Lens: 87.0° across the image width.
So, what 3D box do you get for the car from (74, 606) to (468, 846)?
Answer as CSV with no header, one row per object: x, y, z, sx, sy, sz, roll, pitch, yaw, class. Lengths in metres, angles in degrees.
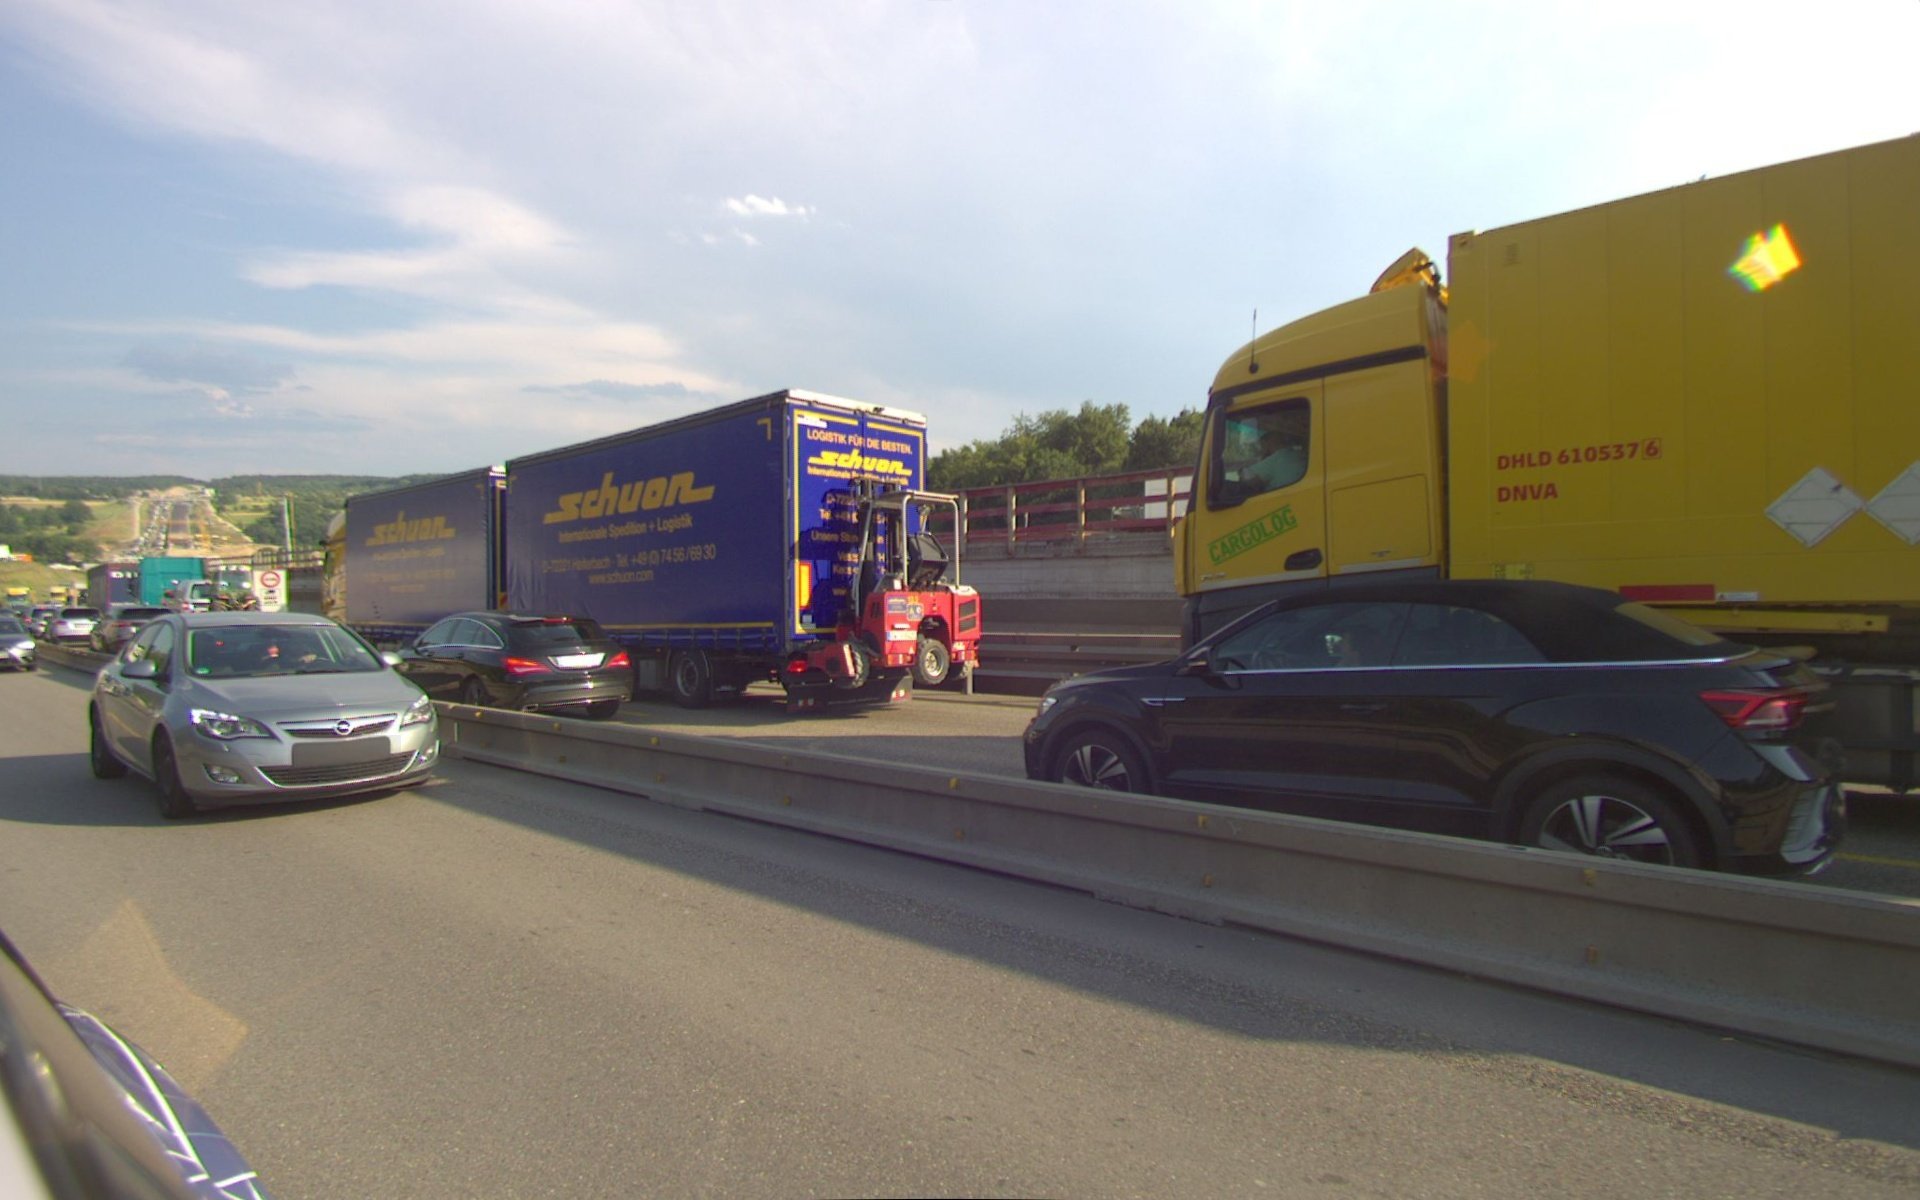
-5.849,0.807,8.392,4.117,1.498,1.786,-1,-1,42,car

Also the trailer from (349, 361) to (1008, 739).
-6.458,-0.570,17.797,16.749,4.166,2.685,0,0,42,trailer

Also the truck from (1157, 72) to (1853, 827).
4.192,-0.845,8.126,4.396,4.228,2.666,0,0,41,truck

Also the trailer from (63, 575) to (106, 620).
-88.094,-0.219,101.753,2.743,4.235,13.848,1,0,-43,trailer

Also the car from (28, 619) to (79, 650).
-49.553,1.850,55.271,4.819,1.533,1.782,0,-2,45,car

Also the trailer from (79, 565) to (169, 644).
-48.557,0.283,58.607,12.497,4.154,2.684,-1,-2,44,trailer

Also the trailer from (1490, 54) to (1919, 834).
10.490,-0.827,2.643,15.989,4.235,2.673,0,0,41,trailer

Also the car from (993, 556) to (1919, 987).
2.366,0.603,5.617,4.290,1.519,1.698,0,0,42,car

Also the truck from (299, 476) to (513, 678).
-13.187,-0.480,23.897,5.793,4.172,2.672,0,0,42,truck

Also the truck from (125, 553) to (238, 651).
-33.317,0.121,43.206,7.113,3.834,2.718,-1,-2,44,truck

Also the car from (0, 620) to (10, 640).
-86.574,2.695,90.856,1.841,1.598,4.751,-4,4,-43,car

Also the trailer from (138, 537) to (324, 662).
-27.543,0.063,37.650,16.050,3.845,2.718,-1,-2,44,trailer

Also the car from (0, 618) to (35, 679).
-24.770,1.207,25.646,1.798,1.452,4.002,-2,0,-45,car

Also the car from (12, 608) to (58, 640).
-59.825,1.534,65.446,5.132,1.948,1.803,0,-3,44,car

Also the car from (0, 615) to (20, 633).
-91.730,2.330,97.410,1.746,1.562,4.484,-1,2,-43,car

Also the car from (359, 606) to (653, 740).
-6.066,0.821,13.261,4.614,1.464,1.778,0,-1,41,car

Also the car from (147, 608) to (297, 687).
-16.214,0.953,22.142,4.724,1.509,1.769,0,0,43,car

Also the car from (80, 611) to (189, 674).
-25.059,1.222,30.655,4.691,1.714,1.906,0,0,43,car

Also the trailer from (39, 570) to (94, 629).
-70.601,-0.041,79.931,2.877,4.499,7.158,-1,0,-44,trailer

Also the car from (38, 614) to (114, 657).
-37.849,1.475,43.309,4.848,1.657,1.938,0,0,43,car
